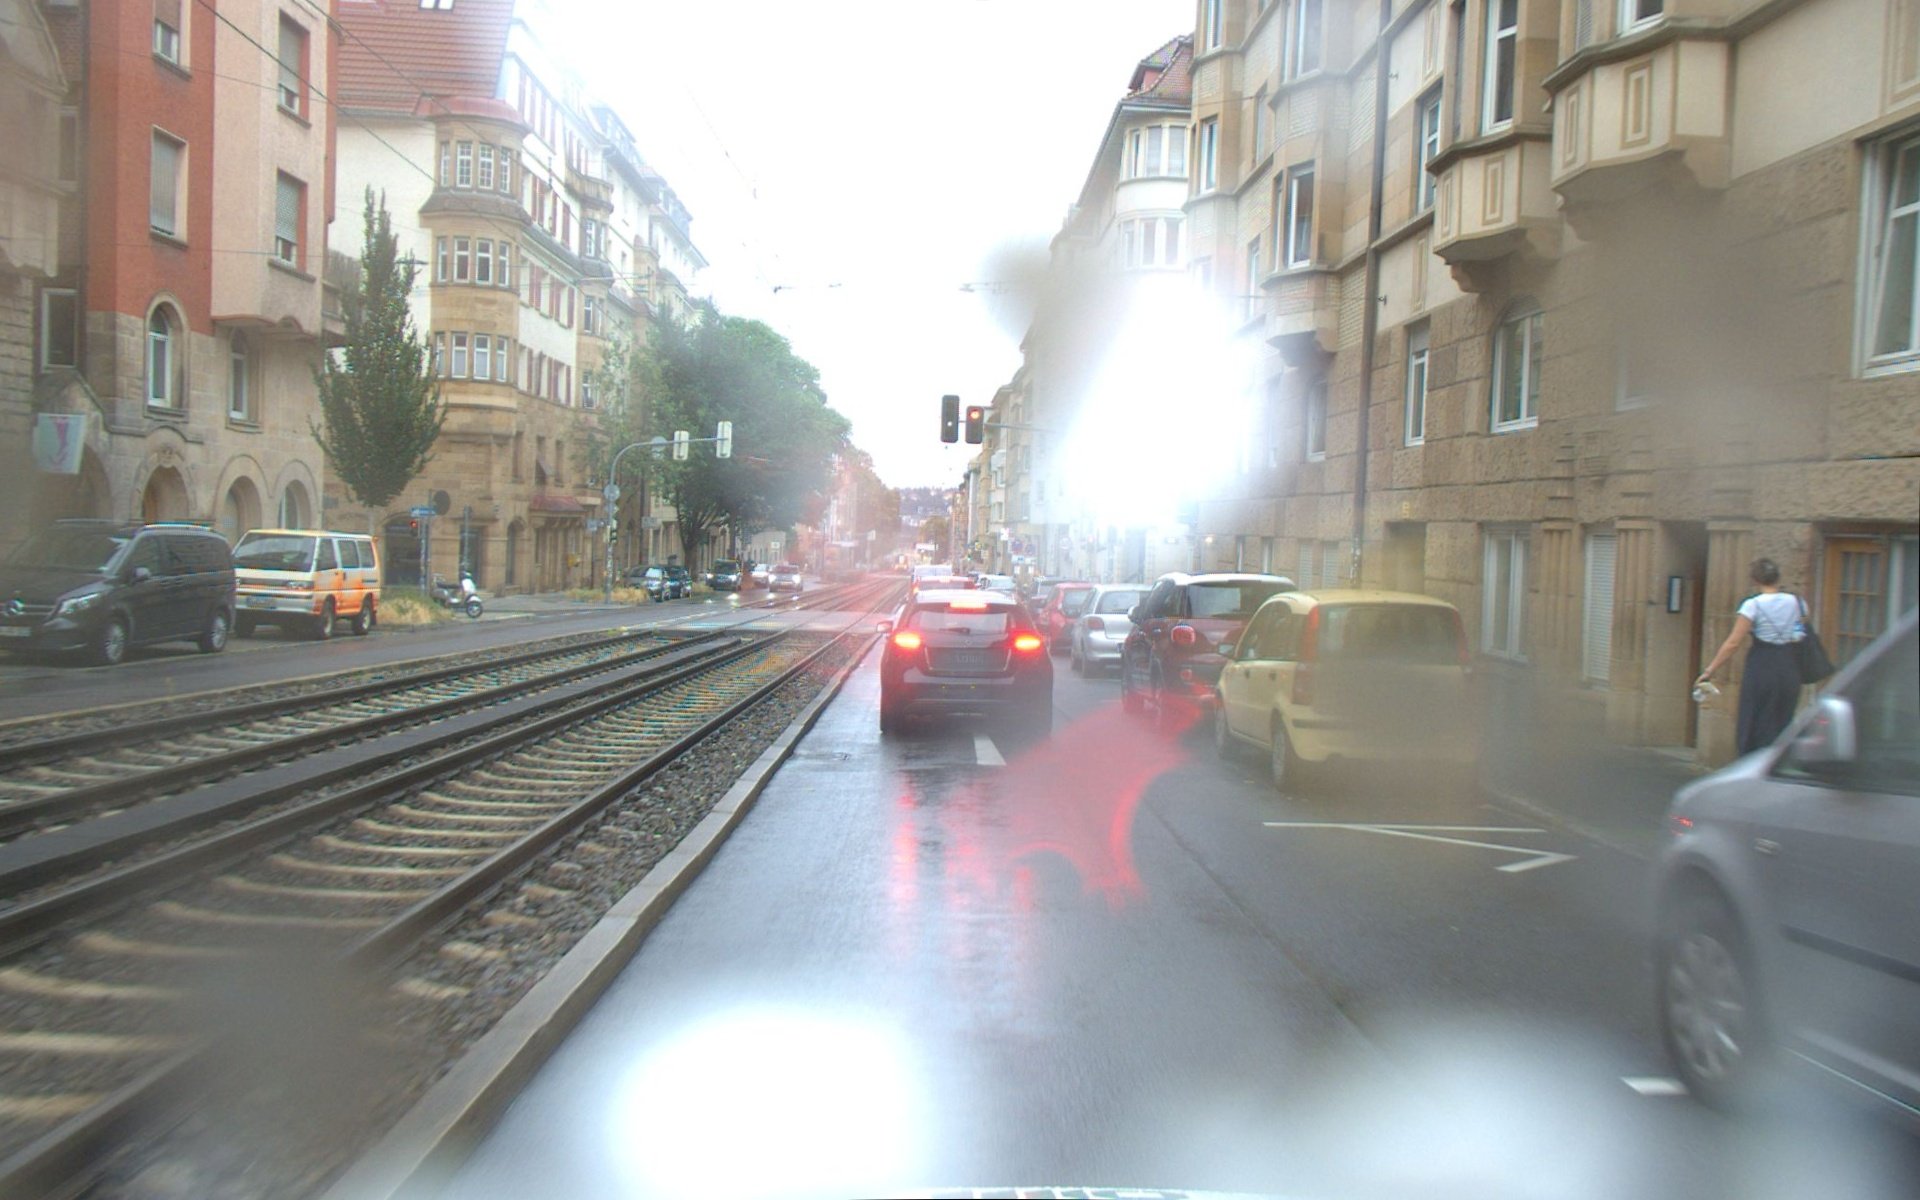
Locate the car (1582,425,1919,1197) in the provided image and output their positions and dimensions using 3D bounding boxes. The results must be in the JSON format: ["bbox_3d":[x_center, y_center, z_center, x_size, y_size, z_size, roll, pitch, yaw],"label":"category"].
[{"bbox_3d":[3.136,0.511,3.619,1.739,1.807,4.359,1,1,-2],"label":"car"}]

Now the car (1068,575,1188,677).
[{"bbox_3d":[2.776,0.389,27.936,1.604,1.569,3.465,2,1,-1],"label":"car"}]

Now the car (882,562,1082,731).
[{"bbox_3d":[0.151,0.443,17.729,1.907,1.592,3.641,1,0,-2],"label":"car"}]

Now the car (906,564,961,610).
[{"bbox_3d":[-1.051,-0.525,63.742,1.883,1.684,3.998,2,1,-4],"label":"car"}]

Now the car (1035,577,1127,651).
[{"bbox_3d":[2.538,0.255,35.249,1.570,1.443,3.147,2,1,-2],"label":"car"}]

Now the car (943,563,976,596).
[{"bbox_3d":[-0.061,-1.150,95.498,1.815,1.829,3.811,1,0,-1],"label":"car"}]

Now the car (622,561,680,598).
[{"bbox_3d":[-13.069,-0.864,70.225,1.735,1.489,3.999,1,0,-1],"label":"car"}]

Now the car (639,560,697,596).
[{"bbox_3d":[-13.308,-0.991,75.542,1.953,1.544,4.000,2,1,-1],"label":"car"}]

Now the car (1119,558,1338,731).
[{"bbox_3d":[2.857,0.414,18.426,1.676,1.656,4.000,2,1,-1],"label":"car"}]

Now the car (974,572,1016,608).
[{"bbox_3d":[1.756,-0.491,84.313,1.733,1.807,3.996,1,0,-5],"label":"car"}]

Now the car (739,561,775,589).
[{"bbox_3d":[-13.944,-1.724,113.729,1.953,1.825,4.000,2,1,-1],"label":"car"}]

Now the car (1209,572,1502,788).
[{"bbox_3d":[3.140,0.557,13.770,1.527,1.504,3.460,2,1,-1],"label":"car"}]

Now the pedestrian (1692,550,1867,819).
[{"bbox_3d":[5.596,0.560,11.324,0.844,1.763,0.609,2,0,-1],"label":"pedestrian"}]

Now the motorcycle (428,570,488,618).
[{"bbox_3d":[-12.744,-0.164,41.973,1.409,1.154,0.619,2,0,29],"label":"motorcycle"}]

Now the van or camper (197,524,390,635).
[{"bbox_3d":[-12.535,-0.387,31.455,1.954,1.934,4.696,0,1,-3],"label":"van or camper"}]

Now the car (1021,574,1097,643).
[{"bbox_3d":[2.388,0.162,40.532,1.518,1.534,4.000,2,1,-1],"label":"car"}]

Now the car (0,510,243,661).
[{"bbox_3d":[-12.261,-0.216,23.729,1.953,1.934,4.698,0,1,-1],"label":"car"}]

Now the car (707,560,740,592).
[{"bbox_3d":[-13.762,-1.401,96.329,1.755,1.721,3.994,2,1,-7],"label":"car"}]

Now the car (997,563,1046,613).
[{"bbox_3d":[2.642,-0.482,71.789,1.860,2.063,4.175,1,0,-1],"label":"car"}]

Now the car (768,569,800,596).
[{"bbox_3d":[-10.364,-1.049,97.620,1.760,1.575,3.996,0,1,-5],"label":"car"}]

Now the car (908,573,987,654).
[{"bbox_3d":[-0.269,0.261,34.482,1.504,1.536,3.999,2,0,-1],"label":"car"}]
